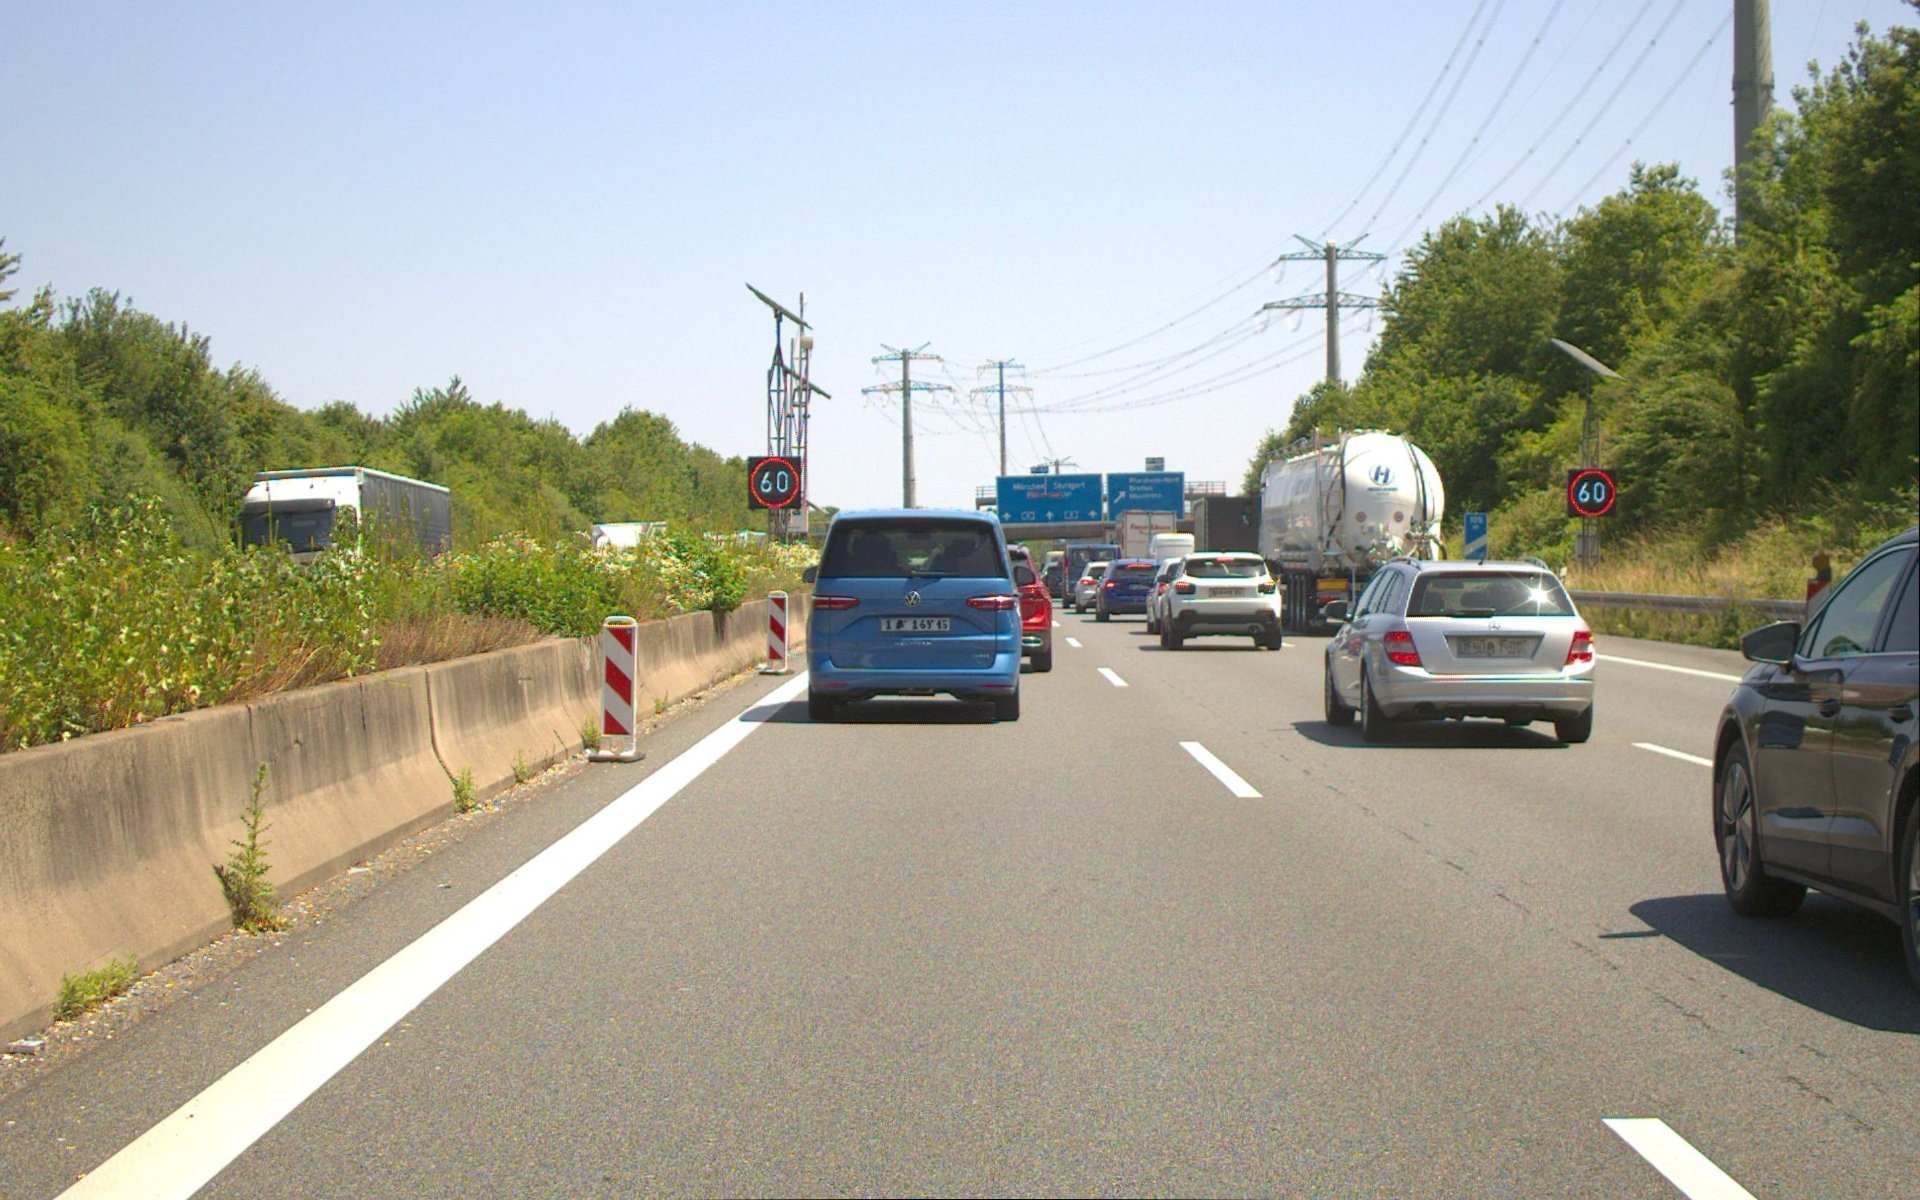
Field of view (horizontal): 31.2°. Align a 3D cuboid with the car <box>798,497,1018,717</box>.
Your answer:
[{"bbox_3d":[-0.510,0.032,31.810,1.871,1.873,4.384,1,1,-2],"label":"car"}]

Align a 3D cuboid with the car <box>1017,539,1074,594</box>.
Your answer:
[{"bbox_3d":[3.190,-1.269,129.430,1.993,2.007,4.000,1,1,-1],"label":"car"}]

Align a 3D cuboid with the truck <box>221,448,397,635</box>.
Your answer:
[{"bbox_3d":[-15.560,-1.392,82.626,2.751,4.152,6.411,-4,1,0],"label":"truck"}]

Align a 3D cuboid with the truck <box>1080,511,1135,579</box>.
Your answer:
[{"bbox_3d":[9.635,-3.580,225.760,2.938,4.276,12.552,1,1,-1],"label":"truck"}]

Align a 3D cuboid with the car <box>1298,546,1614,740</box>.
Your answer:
[{"bbox_3d":[3.945,0.296,28.047,1.821,1.432,4.384,1,1,-1],"label":"car"}]

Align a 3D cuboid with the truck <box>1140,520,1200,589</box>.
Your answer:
[{"bbox_3d":[8.517,-1.839,139.832,1.993,2.714,5.680,1,1,-1],"label":"truck"}]

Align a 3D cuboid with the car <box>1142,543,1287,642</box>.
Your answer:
[{"bbox_3d":[4.041,-0.141,55.136,1.908,1.503,3.922,1,1,-1],"label":"car"}]

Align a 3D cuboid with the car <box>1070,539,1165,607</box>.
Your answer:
[{"bbox_3d":[3.656,-0.645,80.527,1.908,1.511,4.384,1,1,-1],"label":"car"}]

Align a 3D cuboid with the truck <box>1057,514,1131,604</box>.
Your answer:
[{"bbox_3d":[4.150,-1.283,107.201,1.993,2.714,5.680,1,1,-1],"label":"truck"}]

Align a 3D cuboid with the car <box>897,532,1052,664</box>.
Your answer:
[{"bbox_3d":[0.151,-0.051,44.559,1.908,1.625,4.384,0,1,-1],"label":"car"}]

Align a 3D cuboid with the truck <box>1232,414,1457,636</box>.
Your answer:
[{"bbox_3d":[7.738,-1.483,71.605,2.644,4.058,16.442,1,1,-1],"label":"truck"}]

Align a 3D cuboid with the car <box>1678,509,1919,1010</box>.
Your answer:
[{"bbox_3d":[3.995,0.493,12.429,1.828,1.609,4.431,0,1,0],"label":"car"}]

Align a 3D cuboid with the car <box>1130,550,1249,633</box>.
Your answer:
[{"bbox_3d":[4.463,-0.190,67.463,1.908,1.564,4.384,1,1,-1],"label":"car"}]

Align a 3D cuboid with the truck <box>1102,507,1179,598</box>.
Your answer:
[{"bbox_3d":[8.844,-2.326,169.911,2.938,4.276,12.552,1,1,-1],"label":"truck"}]

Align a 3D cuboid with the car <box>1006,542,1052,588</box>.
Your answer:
[{"bbox_3d":[3.047,-1.556,152.597,1.993,2.007,4.000,1,1,1],"label":"car"}]

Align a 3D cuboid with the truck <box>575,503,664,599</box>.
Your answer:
[{"bbox_3d":[-14.642,-2.104,148.528,2.762,3.875,9.030,-4,1,0],"label":"truck"}]

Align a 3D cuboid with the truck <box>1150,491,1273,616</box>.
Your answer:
[{"bbox_3d":[7.519,-1.407,104.397,2.644,3.526,12.552,1,1,-1],"label":"truck"}]

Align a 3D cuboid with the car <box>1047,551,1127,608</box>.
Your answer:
[{"bbox_3d":[3.475,-0.581,94.575,1.908,1.511,4.384,1,1,-1],"label":"car"}]

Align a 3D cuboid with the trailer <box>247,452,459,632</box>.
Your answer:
[{"bbox_3d":[-15.566,-1.479,89.449,2.753,4.152,14.197,-4,1,0],"label":"trailer"}]
